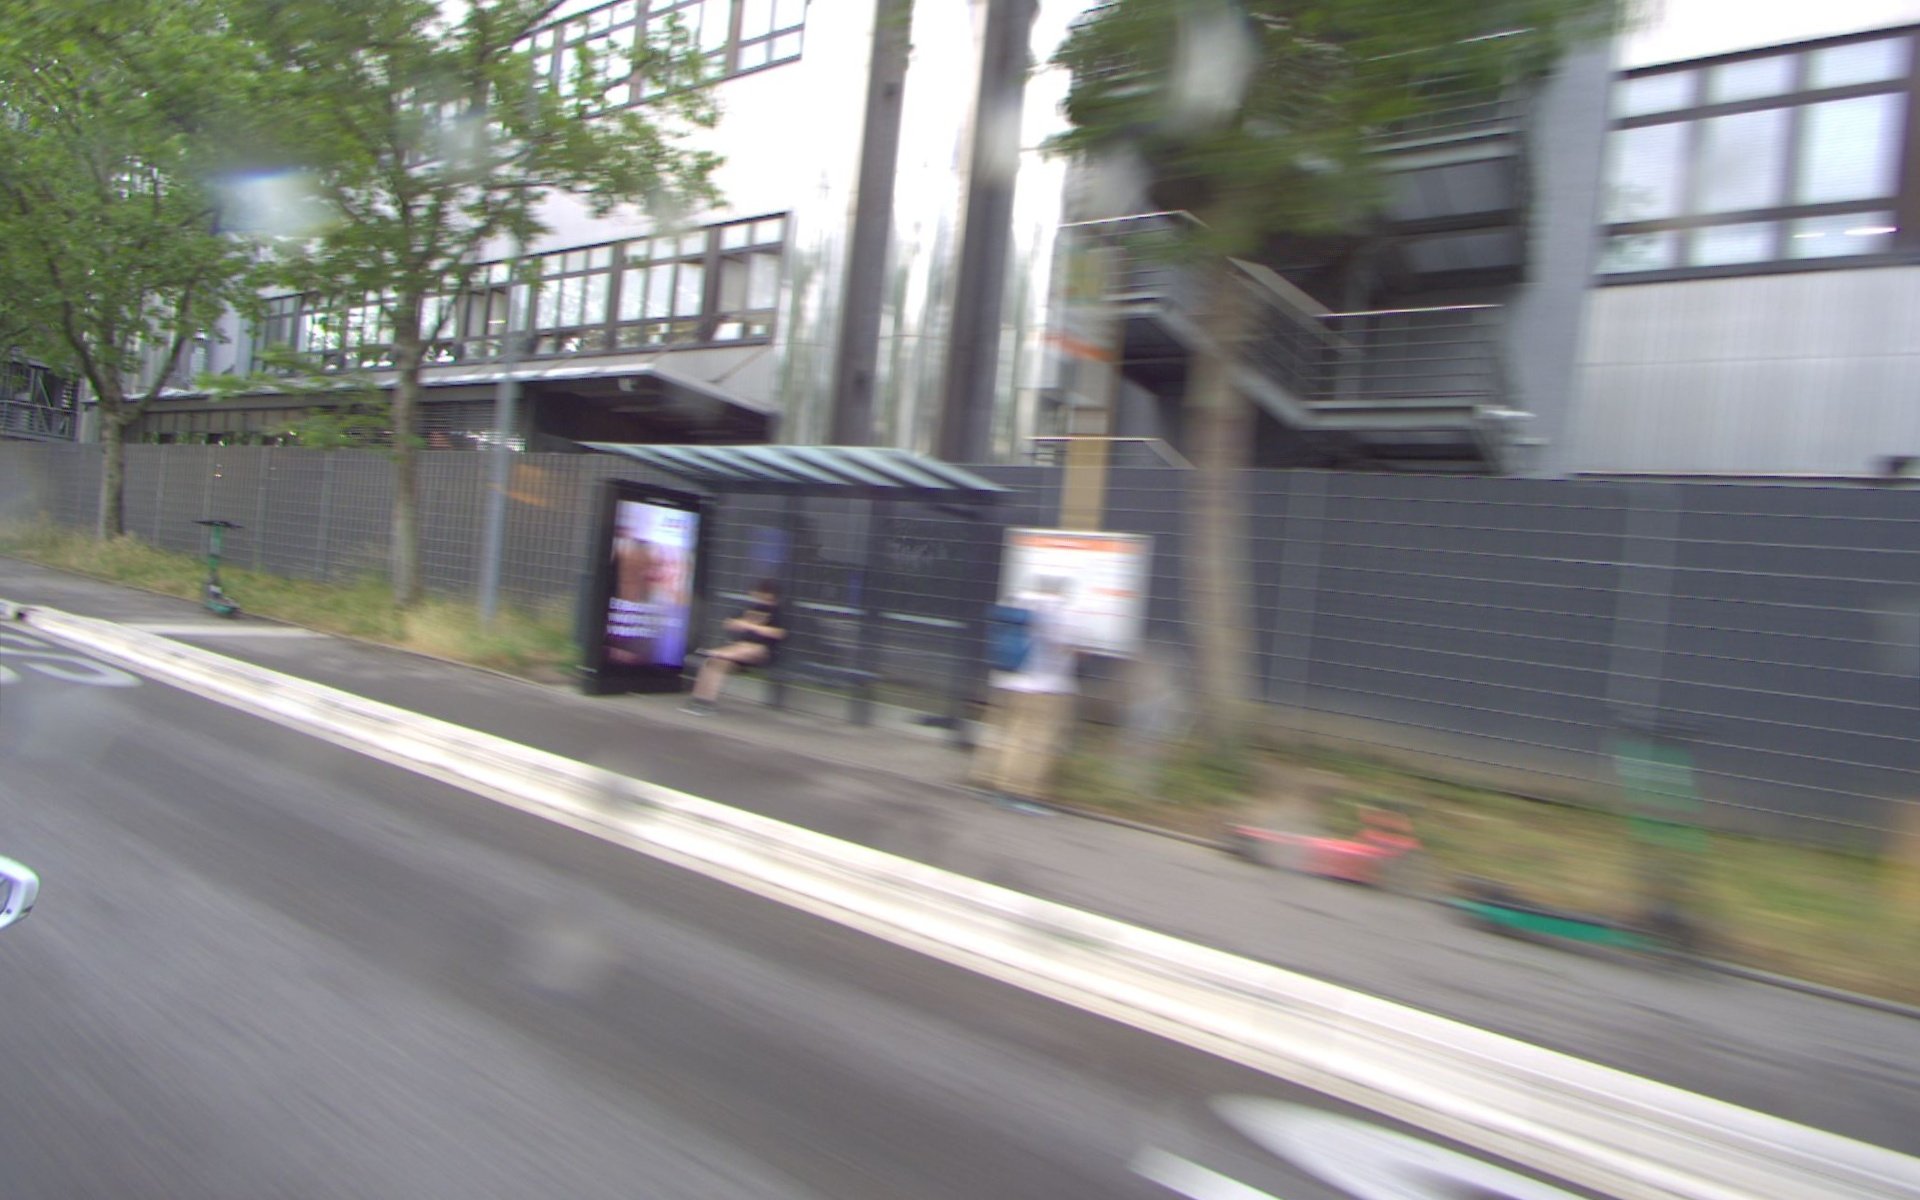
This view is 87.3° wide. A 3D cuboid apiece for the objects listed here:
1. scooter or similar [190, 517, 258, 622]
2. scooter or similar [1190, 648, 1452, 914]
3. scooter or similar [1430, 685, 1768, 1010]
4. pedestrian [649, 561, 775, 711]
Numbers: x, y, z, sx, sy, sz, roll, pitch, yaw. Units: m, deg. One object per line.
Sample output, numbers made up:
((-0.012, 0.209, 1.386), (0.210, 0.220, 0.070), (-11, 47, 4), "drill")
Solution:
((-10.078, -0.433, 13.765), (1.227, 1.325, 0.328), (7, 2, 37), "scooter or similar")
((2.139, 1.022, 6.044), (1.280, 1.312, 0.436), (7, 1, 36), "scooter or similar")
((3.212, 1.179, 5.147), (1.280, 1.312, 0.436), (7, 1, 36), "scooter or similar")
((-2.569, 0.378, 10.483), (0.686, 1.434, 0.931), (7, 1, 32), "pedestrian")
